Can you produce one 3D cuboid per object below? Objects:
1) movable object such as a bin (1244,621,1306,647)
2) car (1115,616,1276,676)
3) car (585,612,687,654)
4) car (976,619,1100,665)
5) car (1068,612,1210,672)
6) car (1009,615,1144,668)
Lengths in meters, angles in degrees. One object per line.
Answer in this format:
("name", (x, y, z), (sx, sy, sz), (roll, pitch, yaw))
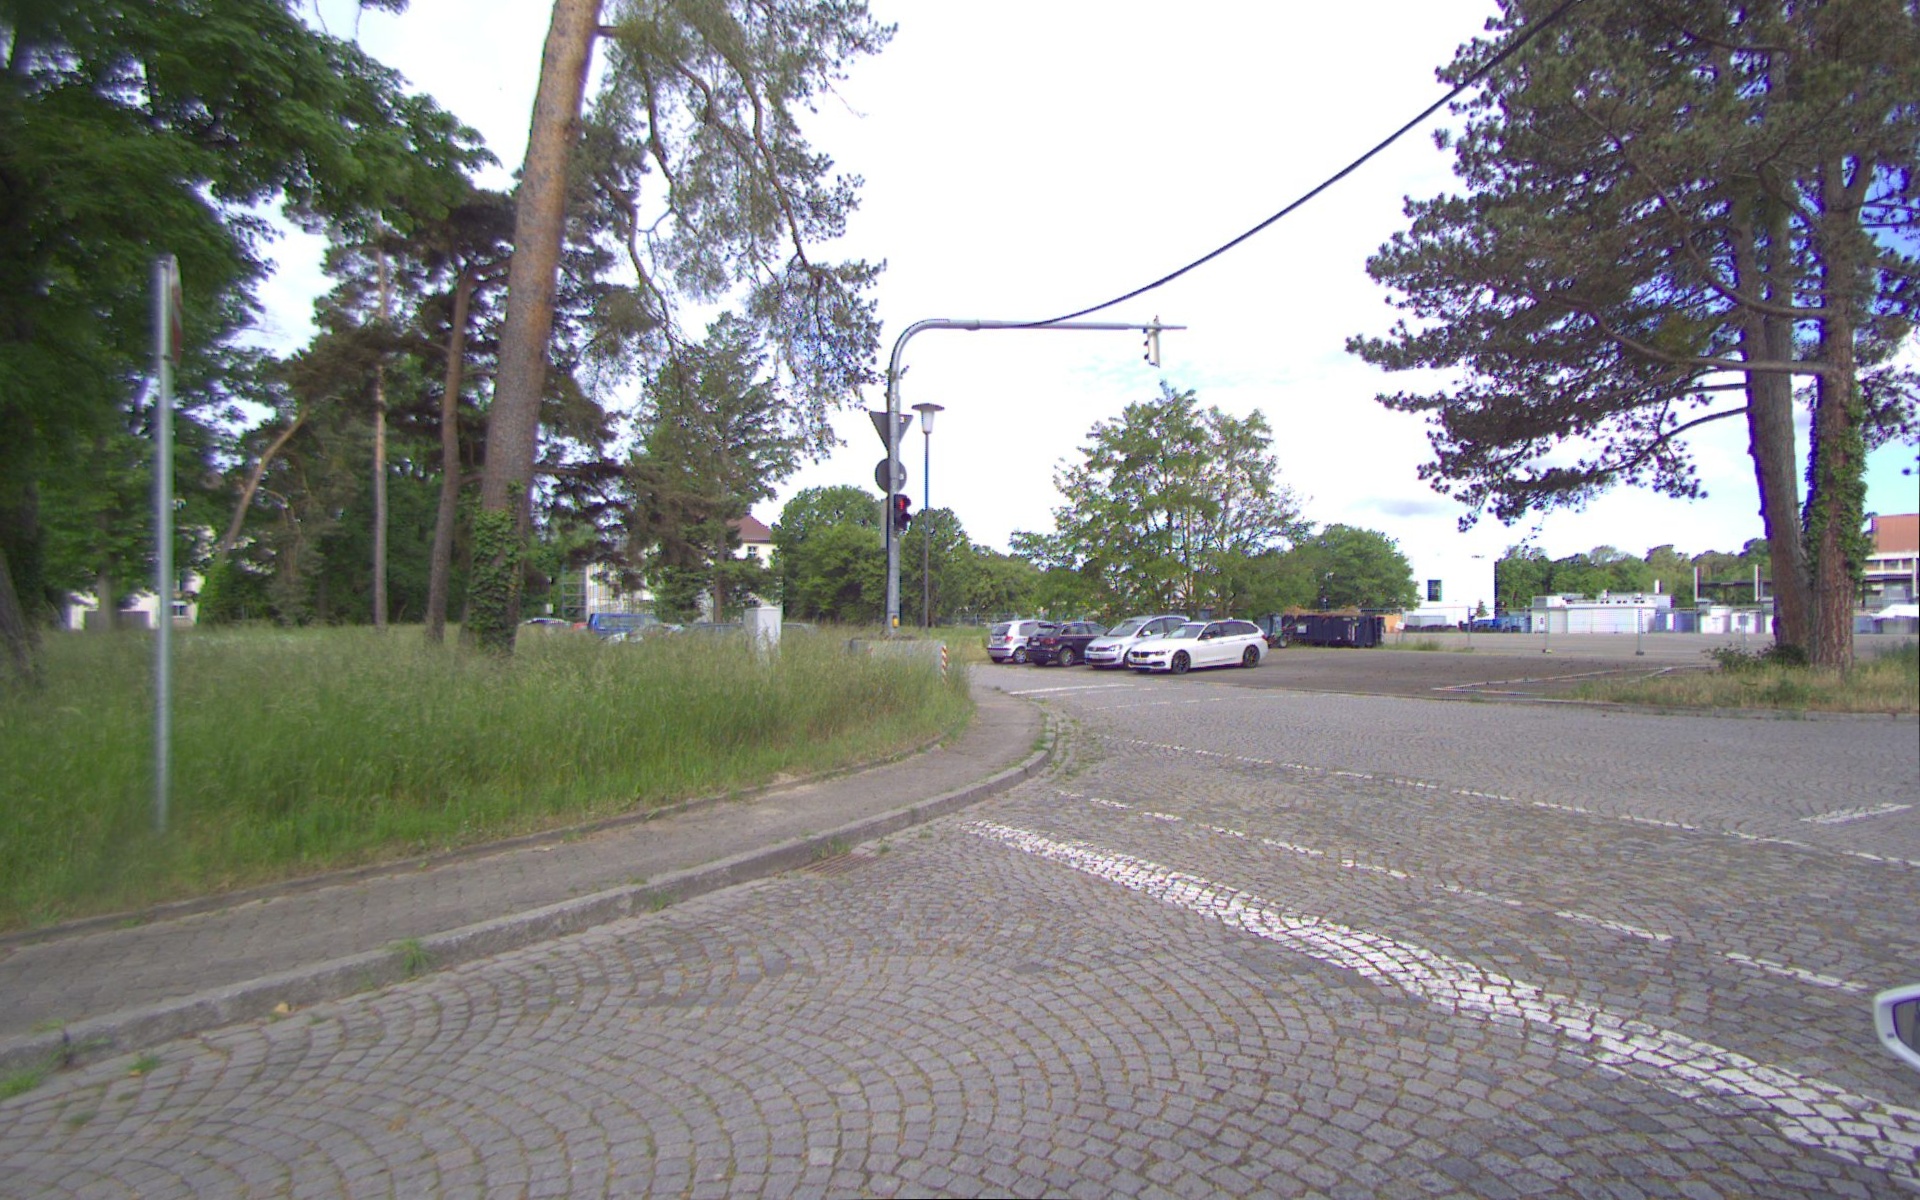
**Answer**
("movable object such as a bin", (13.633, 1.452, 43.412), (2.630, 1.062, 1.171), (1, -1, -33))
("car", (6.952, 1.301, 29.474), (4.685, 1.461, 1.801), (-2, 0, -31))
("car", (-16.602, 1.660, 51.476), (4.733, 2.007, 1.984), (-1, -1, -28))
("car", (2.855, 1.475, 36.348), (4.277, 1.587, 1.784), (0, -1, -32))
("car", (5.683, 1.264, 31.714), (4.277, 1.605, 1.812), (-2, 0, -32))
("car", (3.946, 1.356, 33.883), (4.277, 1.522, 1.845), (-2, 0, -32))
